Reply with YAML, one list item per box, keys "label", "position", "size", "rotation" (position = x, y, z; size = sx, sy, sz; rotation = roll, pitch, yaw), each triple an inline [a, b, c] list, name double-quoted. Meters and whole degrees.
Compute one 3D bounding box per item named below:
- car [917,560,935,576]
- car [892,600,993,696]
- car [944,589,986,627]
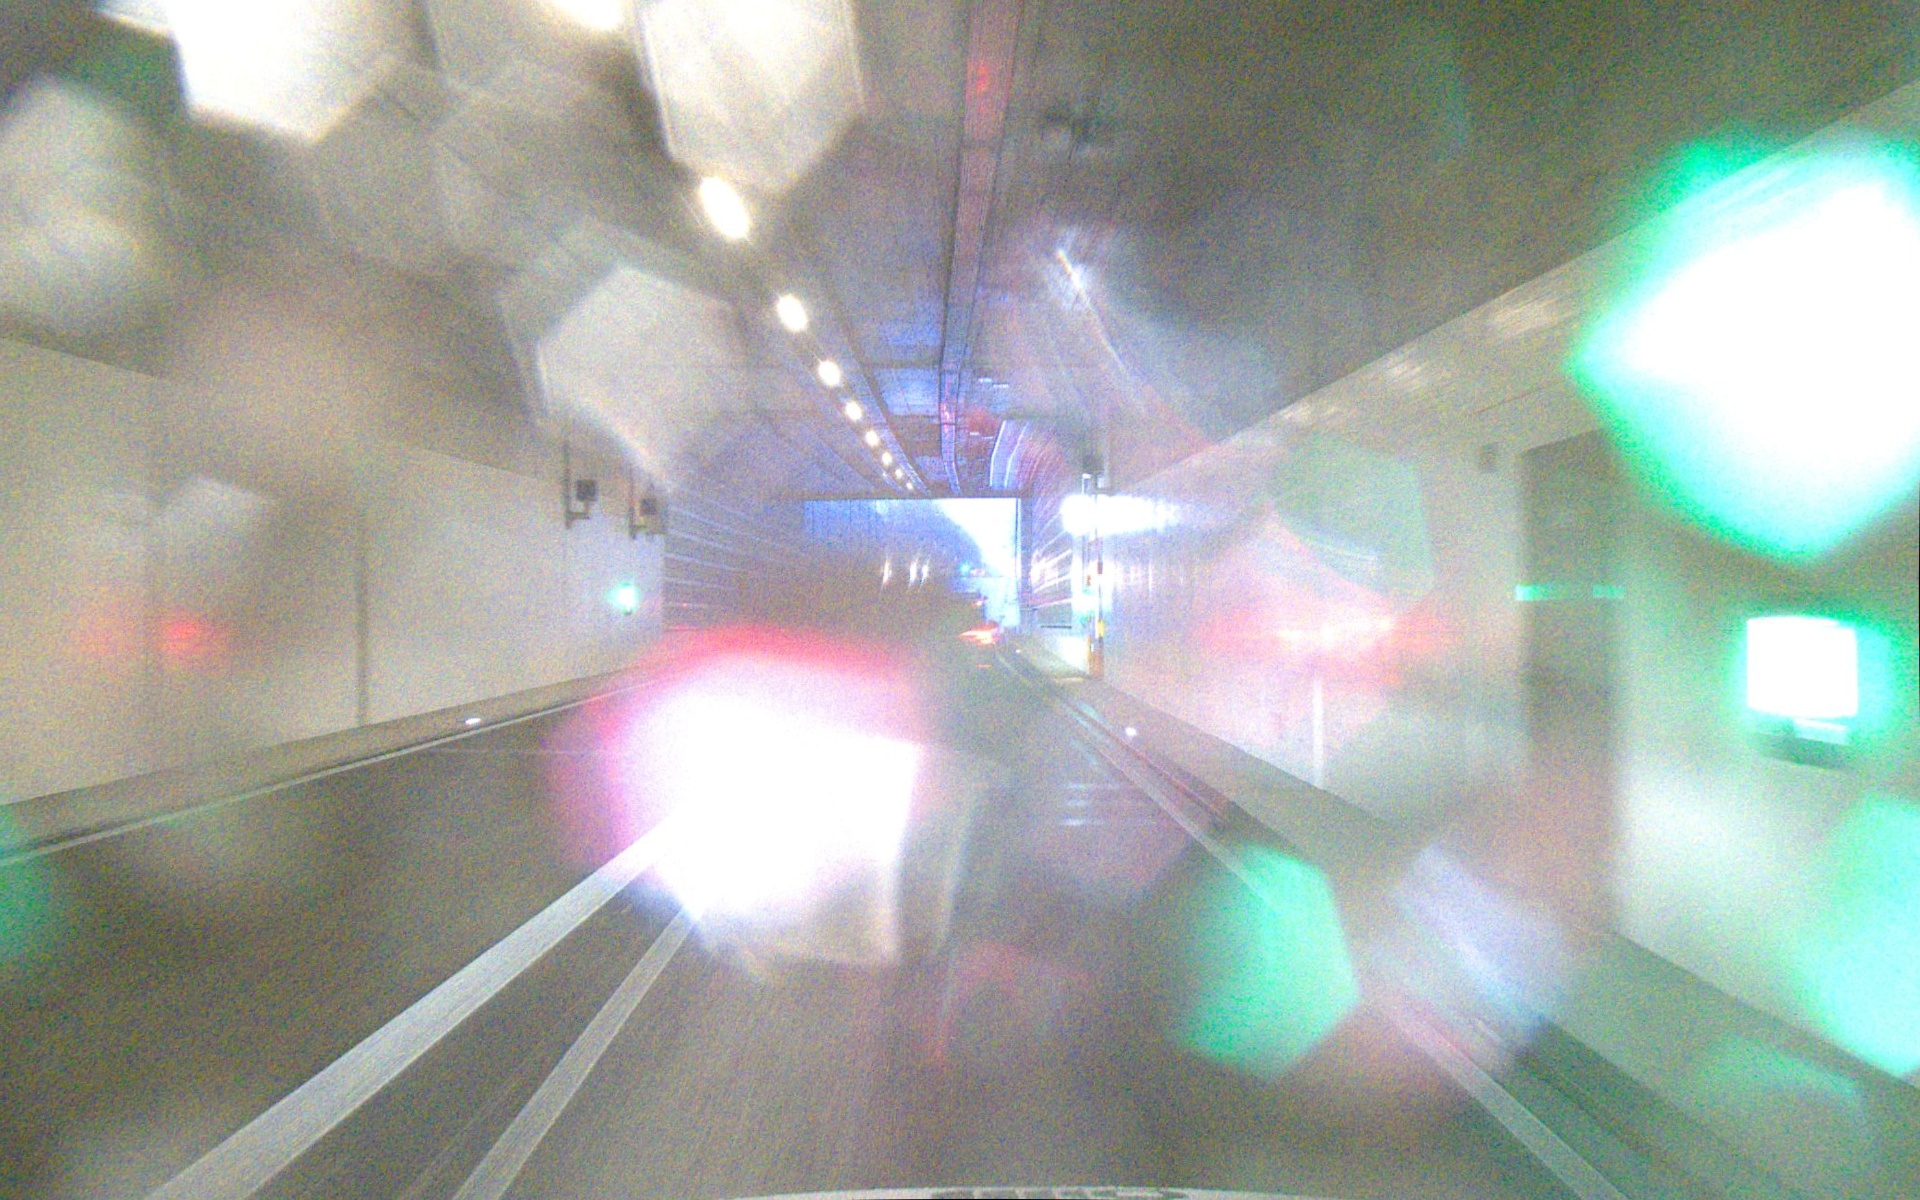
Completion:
- label: "car"
  position: [-3.793, -3.533, 184.165]
  size: [1.841, 1.649, 4.001]
  rotation: [0, -1, 2]
- label: "car"
  position: [-0.287, 0.714, 26.334]
  size: [1.501, 1.422, 3.433]
  rotation: [0, 0, -1]
- label: "car"
  position: [0.202, 0.384, 74.620]
  size: [1.842, 1.649, 3.999]
  rotation: [0, -1, 0]
